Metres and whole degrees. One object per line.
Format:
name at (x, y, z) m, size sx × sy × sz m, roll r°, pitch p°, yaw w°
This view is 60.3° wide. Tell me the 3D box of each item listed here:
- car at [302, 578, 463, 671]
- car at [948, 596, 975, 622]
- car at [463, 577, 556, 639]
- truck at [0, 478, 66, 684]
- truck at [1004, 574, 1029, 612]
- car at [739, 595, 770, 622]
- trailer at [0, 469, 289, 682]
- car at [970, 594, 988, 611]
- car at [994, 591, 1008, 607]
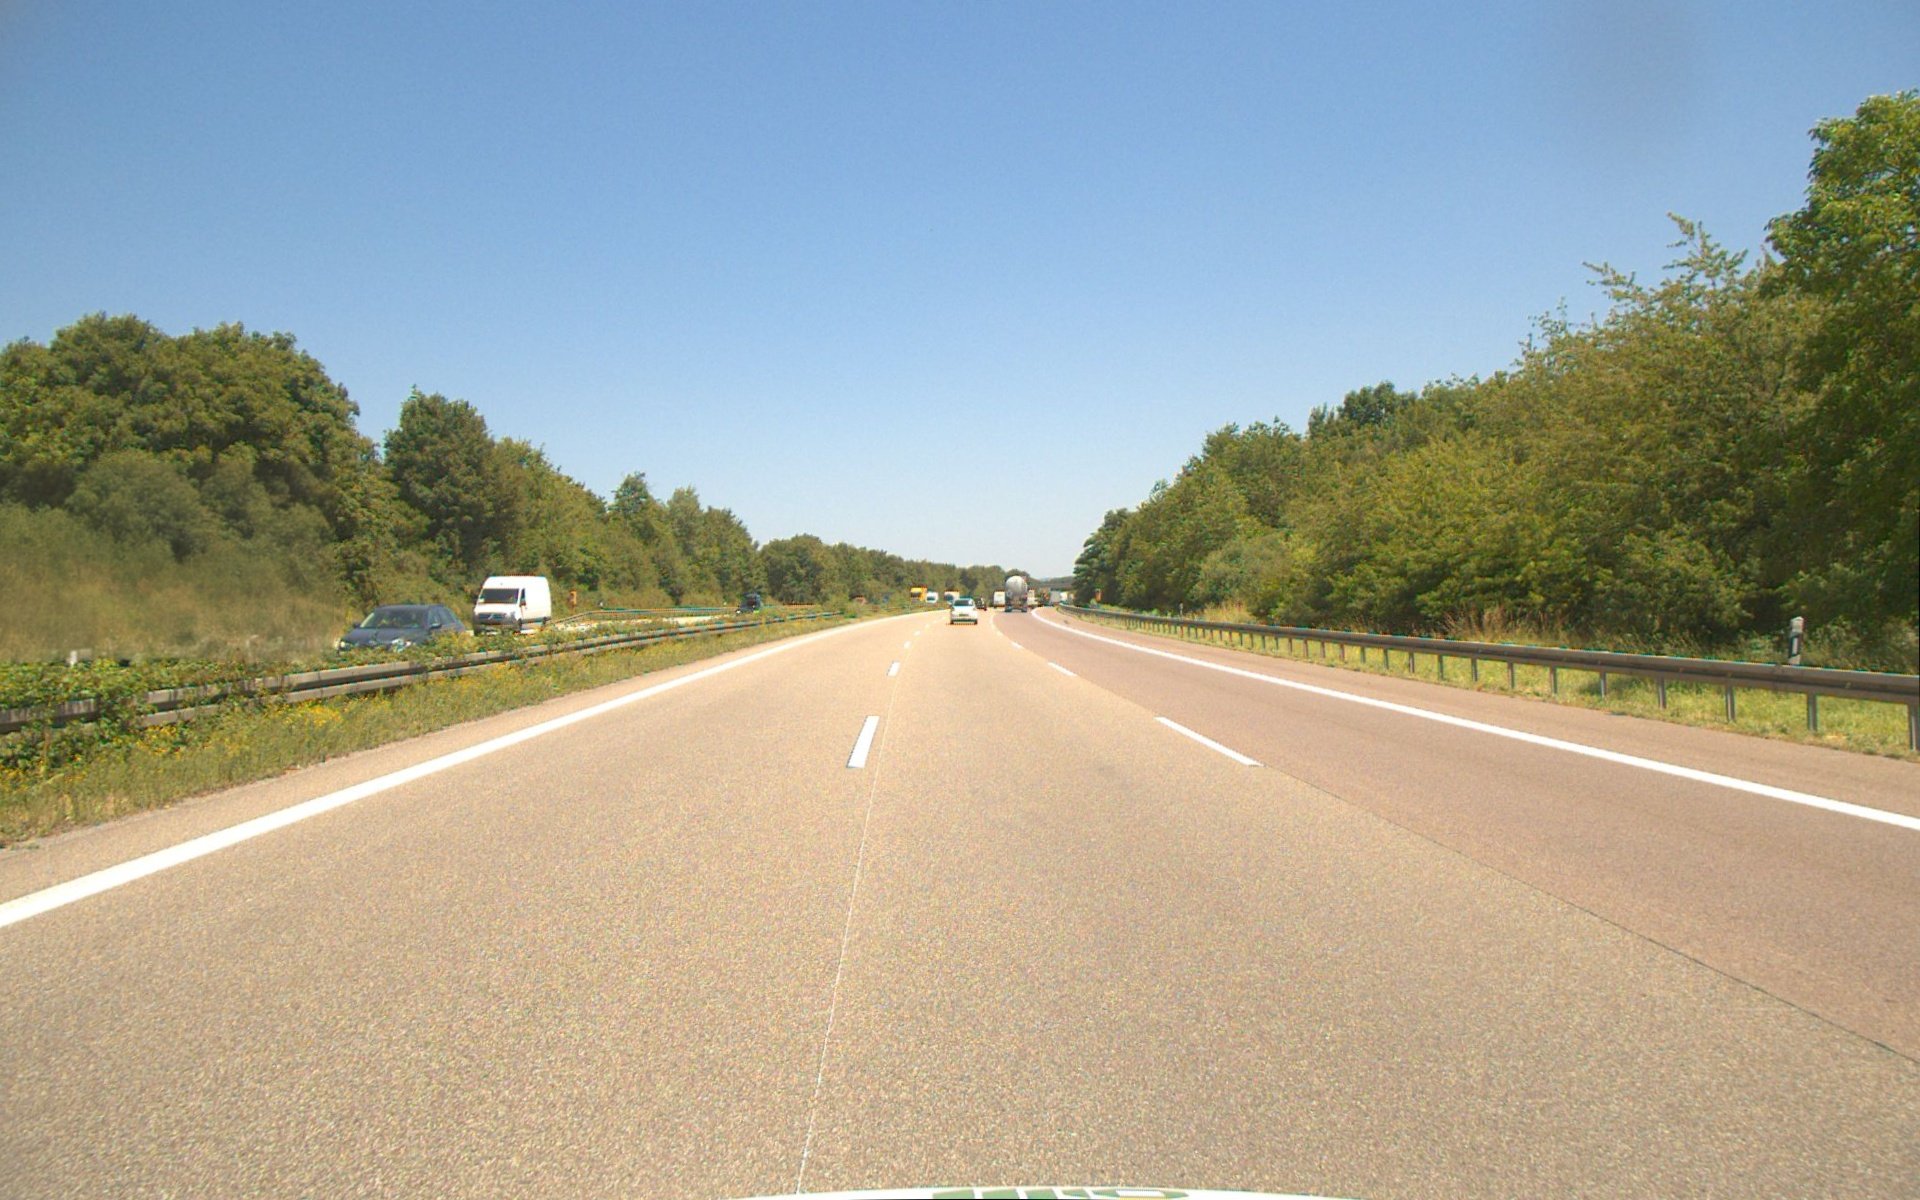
car at (-12.898, 0.519, 37.269) m, size 1.953 × 1.894 × 4.954 m, roll -1°, pitch 0°, yaw -2°
car at (0.061, 0.530, 100.381) m, size 1.594 × 1.505 × 3.999 m, roll -1°, pitch 0°, yaw -1°
car at (-20.216, 0.338, 74.662) m, size 2.183 × 2.621 × 7.390 m, roll -1°, pitch 0°, yaw -1°
truck at (-20.086, -0.345, 32.486) m, size 2.647 × 4.035 × 4.442 m, roll -1°, pitch 0°, yaw -1°
truck at (6.326, -0.716, 186.044) m, size 2.682 × 4.123 × 10.457 m, roll -1°, pitch 0°, yaw 2°
car at (-15.385, 0.610, 123.973) m, size 1.789 × 1.939 × 4.955 m, roll -1°, pitch 0°, yaw -1°
trailer at (-20.204, -0.464, 39.927) m, size 2.651 × 4.257 × 13.556 m, roll -1°, pitch 0°, yaw -1°
car at (2.297, 0.268, 202.690) m, size 1.952 × 2.049 × 4.002 m, roll -1°, pitch 0°, yaw 3°
car at (6.306, -0.157, 253.931) m, size 1.952 × 2.384 × 4.388 m, roll -1°, pitch 0°, yaw 2°
